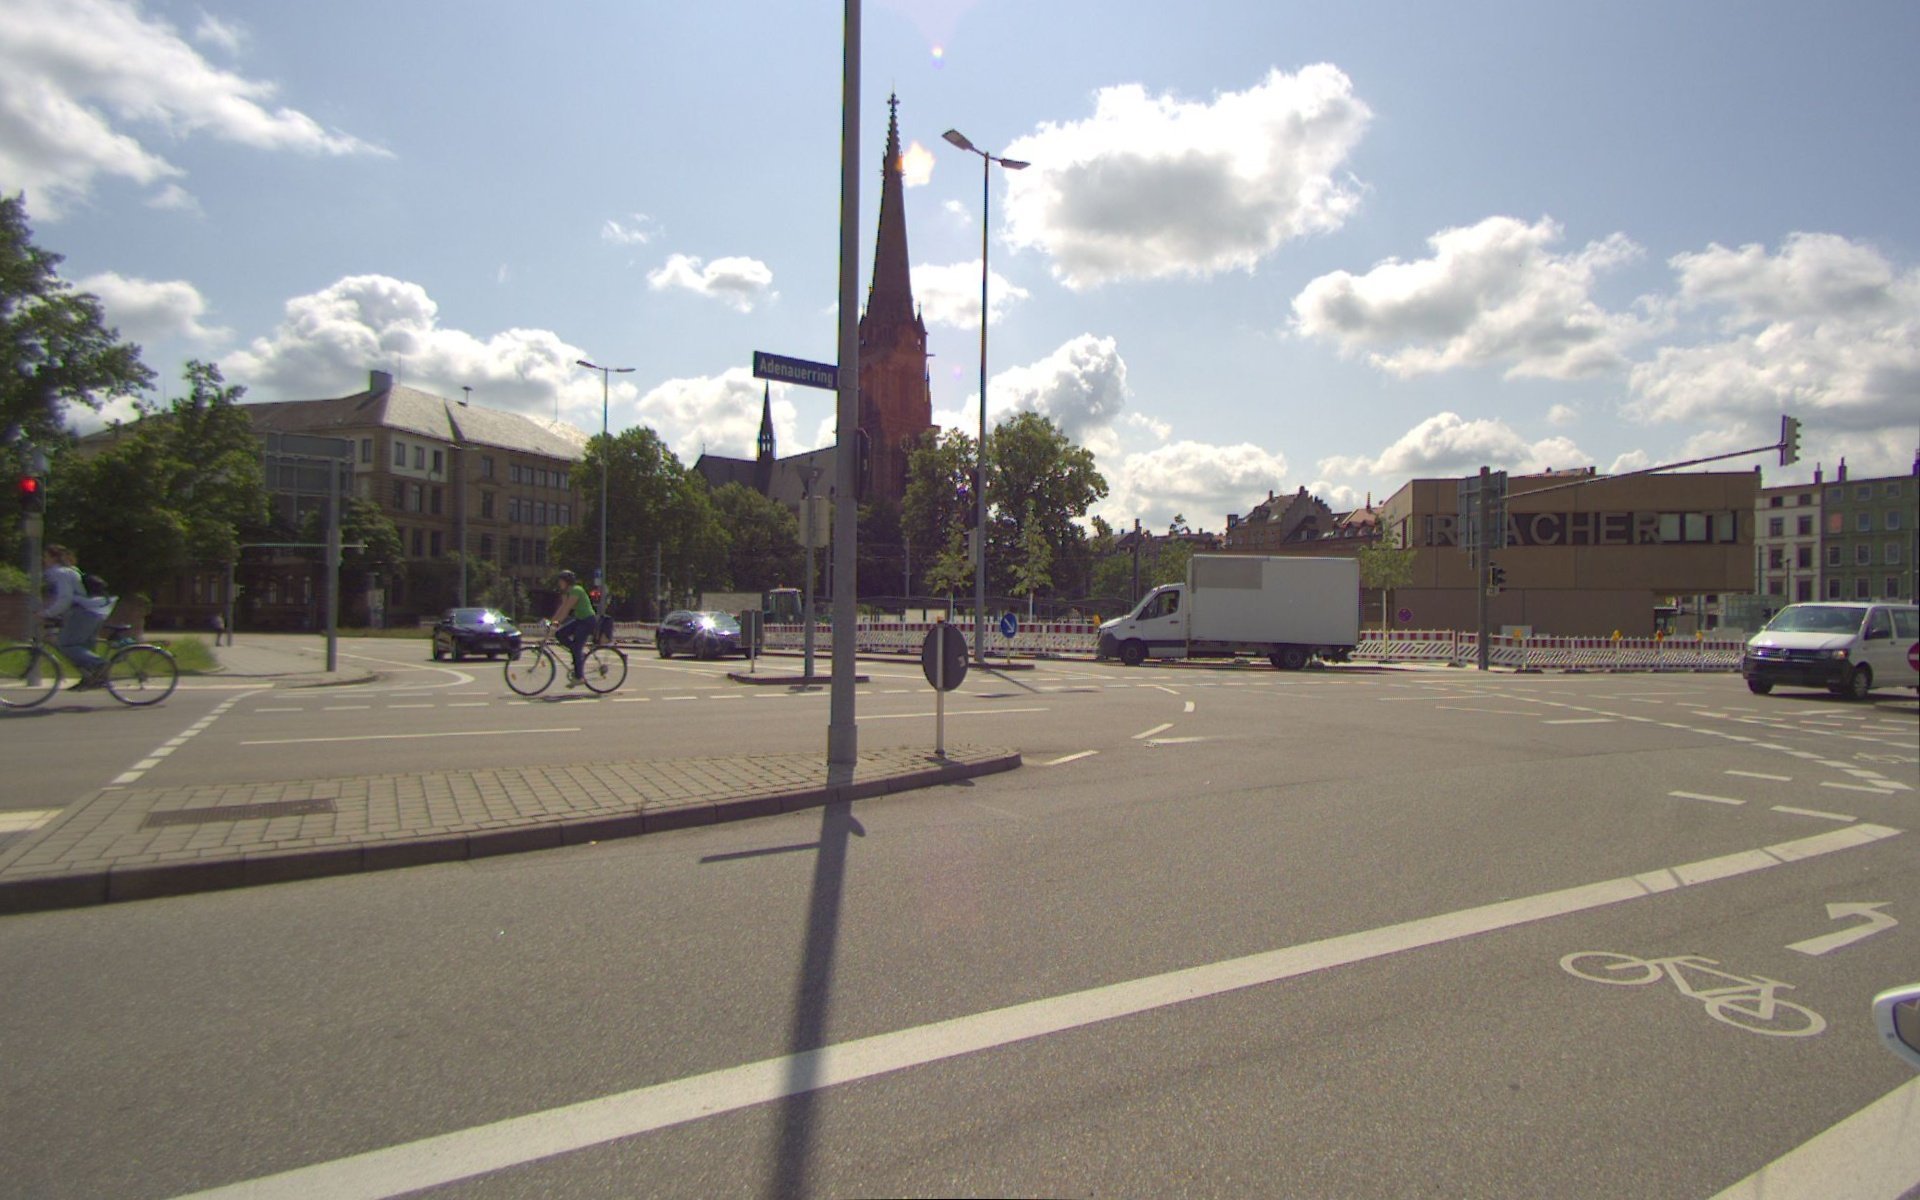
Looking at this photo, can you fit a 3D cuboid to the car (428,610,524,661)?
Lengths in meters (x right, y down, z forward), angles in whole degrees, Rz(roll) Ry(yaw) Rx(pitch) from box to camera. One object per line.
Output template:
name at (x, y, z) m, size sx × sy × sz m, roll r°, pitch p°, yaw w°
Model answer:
car at (-15.582, 1.110, 32.228) m, size 1.981 × 1.505 × 4.464 m, roll 1°, pitch -1°, yaw -37°

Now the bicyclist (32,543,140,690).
bicyclist at (-10.237, 0.195, 11.806) m, size 0.834 × 1.640 × 0.771 m, roll 1°, pitch -1°, yaw -34°

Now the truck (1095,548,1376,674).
truck at (7.437, 0.277, 27.792) m, size 7.181 × 3.108 × 2.001 m, roll 2°, pitch 0°, yaw 9°

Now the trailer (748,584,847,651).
trailer at (-7.656, 0.839, 47.624) m, size 4.280 × 2.952 × 2.000 m, roll 2°, pitch 0°, yaw 0°

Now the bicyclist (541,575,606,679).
bicyclist at (-5.688, 0.401, 14.771) m, size 0.826 × 1.481 × 0.563 m, roll 1°, pitch -1°, yaw -27°

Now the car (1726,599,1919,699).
car at (18.588, 0.985, 21.117) m, size 4.800 × 1.919 × 1.877 m, roll 1°, pitch -1°, yaw -23°

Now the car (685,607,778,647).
car at (-9.036, 1.041, 39.552) m, size 1.985 × 1.506 × 3.859 m, roll 1°, pitch -1°, yaw -41°

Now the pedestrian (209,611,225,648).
pedestrian at (-38.295, 1.509, 51.761) m, size 0.560 × 1.844 × 0.437 m, roll 2°, pitch 0°, yaw 36°

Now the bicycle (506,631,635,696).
bicycle at (-5.710, 0.913, 14.753) m, size 1.721 × 0.901 × 0.565 m, roll 1°, pitch -1°, yaw -27°

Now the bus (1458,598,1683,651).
bus at (38.771, 1.513, 64.318) m, size 12.020 × 2.897 × 2.596 m, roll 2°, pitch 0°, yaw 16°

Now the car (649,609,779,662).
car at (-7.568, 1.041, 30.615) m, size 1.984 × 1.506 × 4.613 m, roll 1°, pitch -1°, yaw -41°

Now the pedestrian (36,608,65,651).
pedestrian at (-37.598, 1.215, 41.530) m, size 0.478 × 1.718 × 0.680 m, roll 2°, pitch 0°, yaw 15°

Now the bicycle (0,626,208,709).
bicycle at (-10.195, 0.768, 11.827) m, size 2.087 × 0.901 × 0.771 m, roll 1°, pitch -1°, yaw -34°
